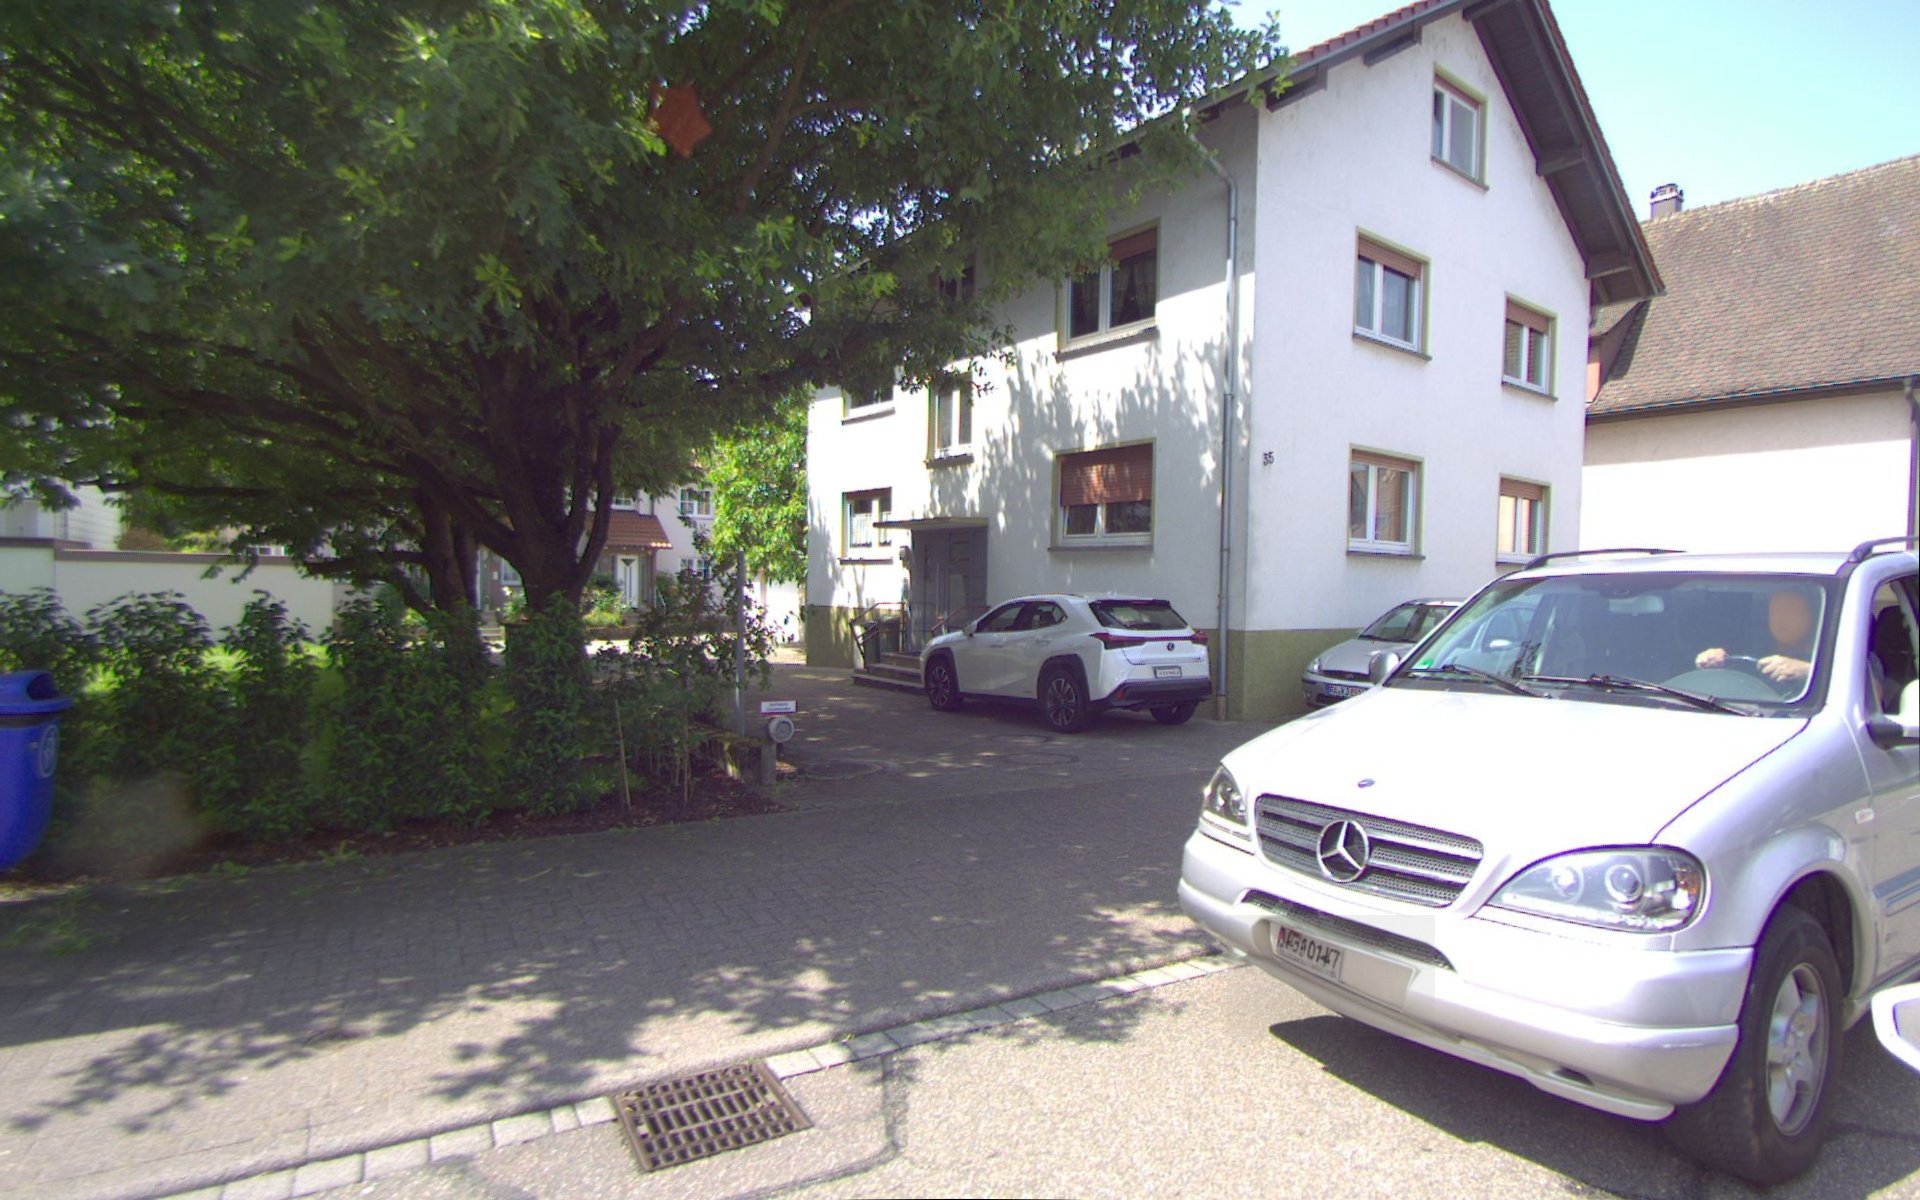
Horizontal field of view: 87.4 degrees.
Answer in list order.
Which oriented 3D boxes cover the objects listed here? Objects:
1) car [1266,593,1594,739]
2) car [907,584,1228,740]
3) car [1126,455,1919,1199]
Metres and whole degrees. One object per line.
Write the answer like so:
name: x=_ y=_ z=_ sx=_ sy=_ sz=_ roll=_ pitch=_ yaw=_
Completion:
car: x=5.735 y=0.674 z=12.129 sx=4.013 sy=1.454 sz=1.767 roll=0 pitch=2 yaw=-34
car: x=1.106 y=0.643 z=12.267 sx=1.754 sy=1.559 sz=4.138 roll=0 pitch=-1 yaw=-31
car: x=2.928 y=0.594 z=4.132 sx=4.282 sy=1.790 sz=1.876 roll=0 pitch=0 yaw=-32
